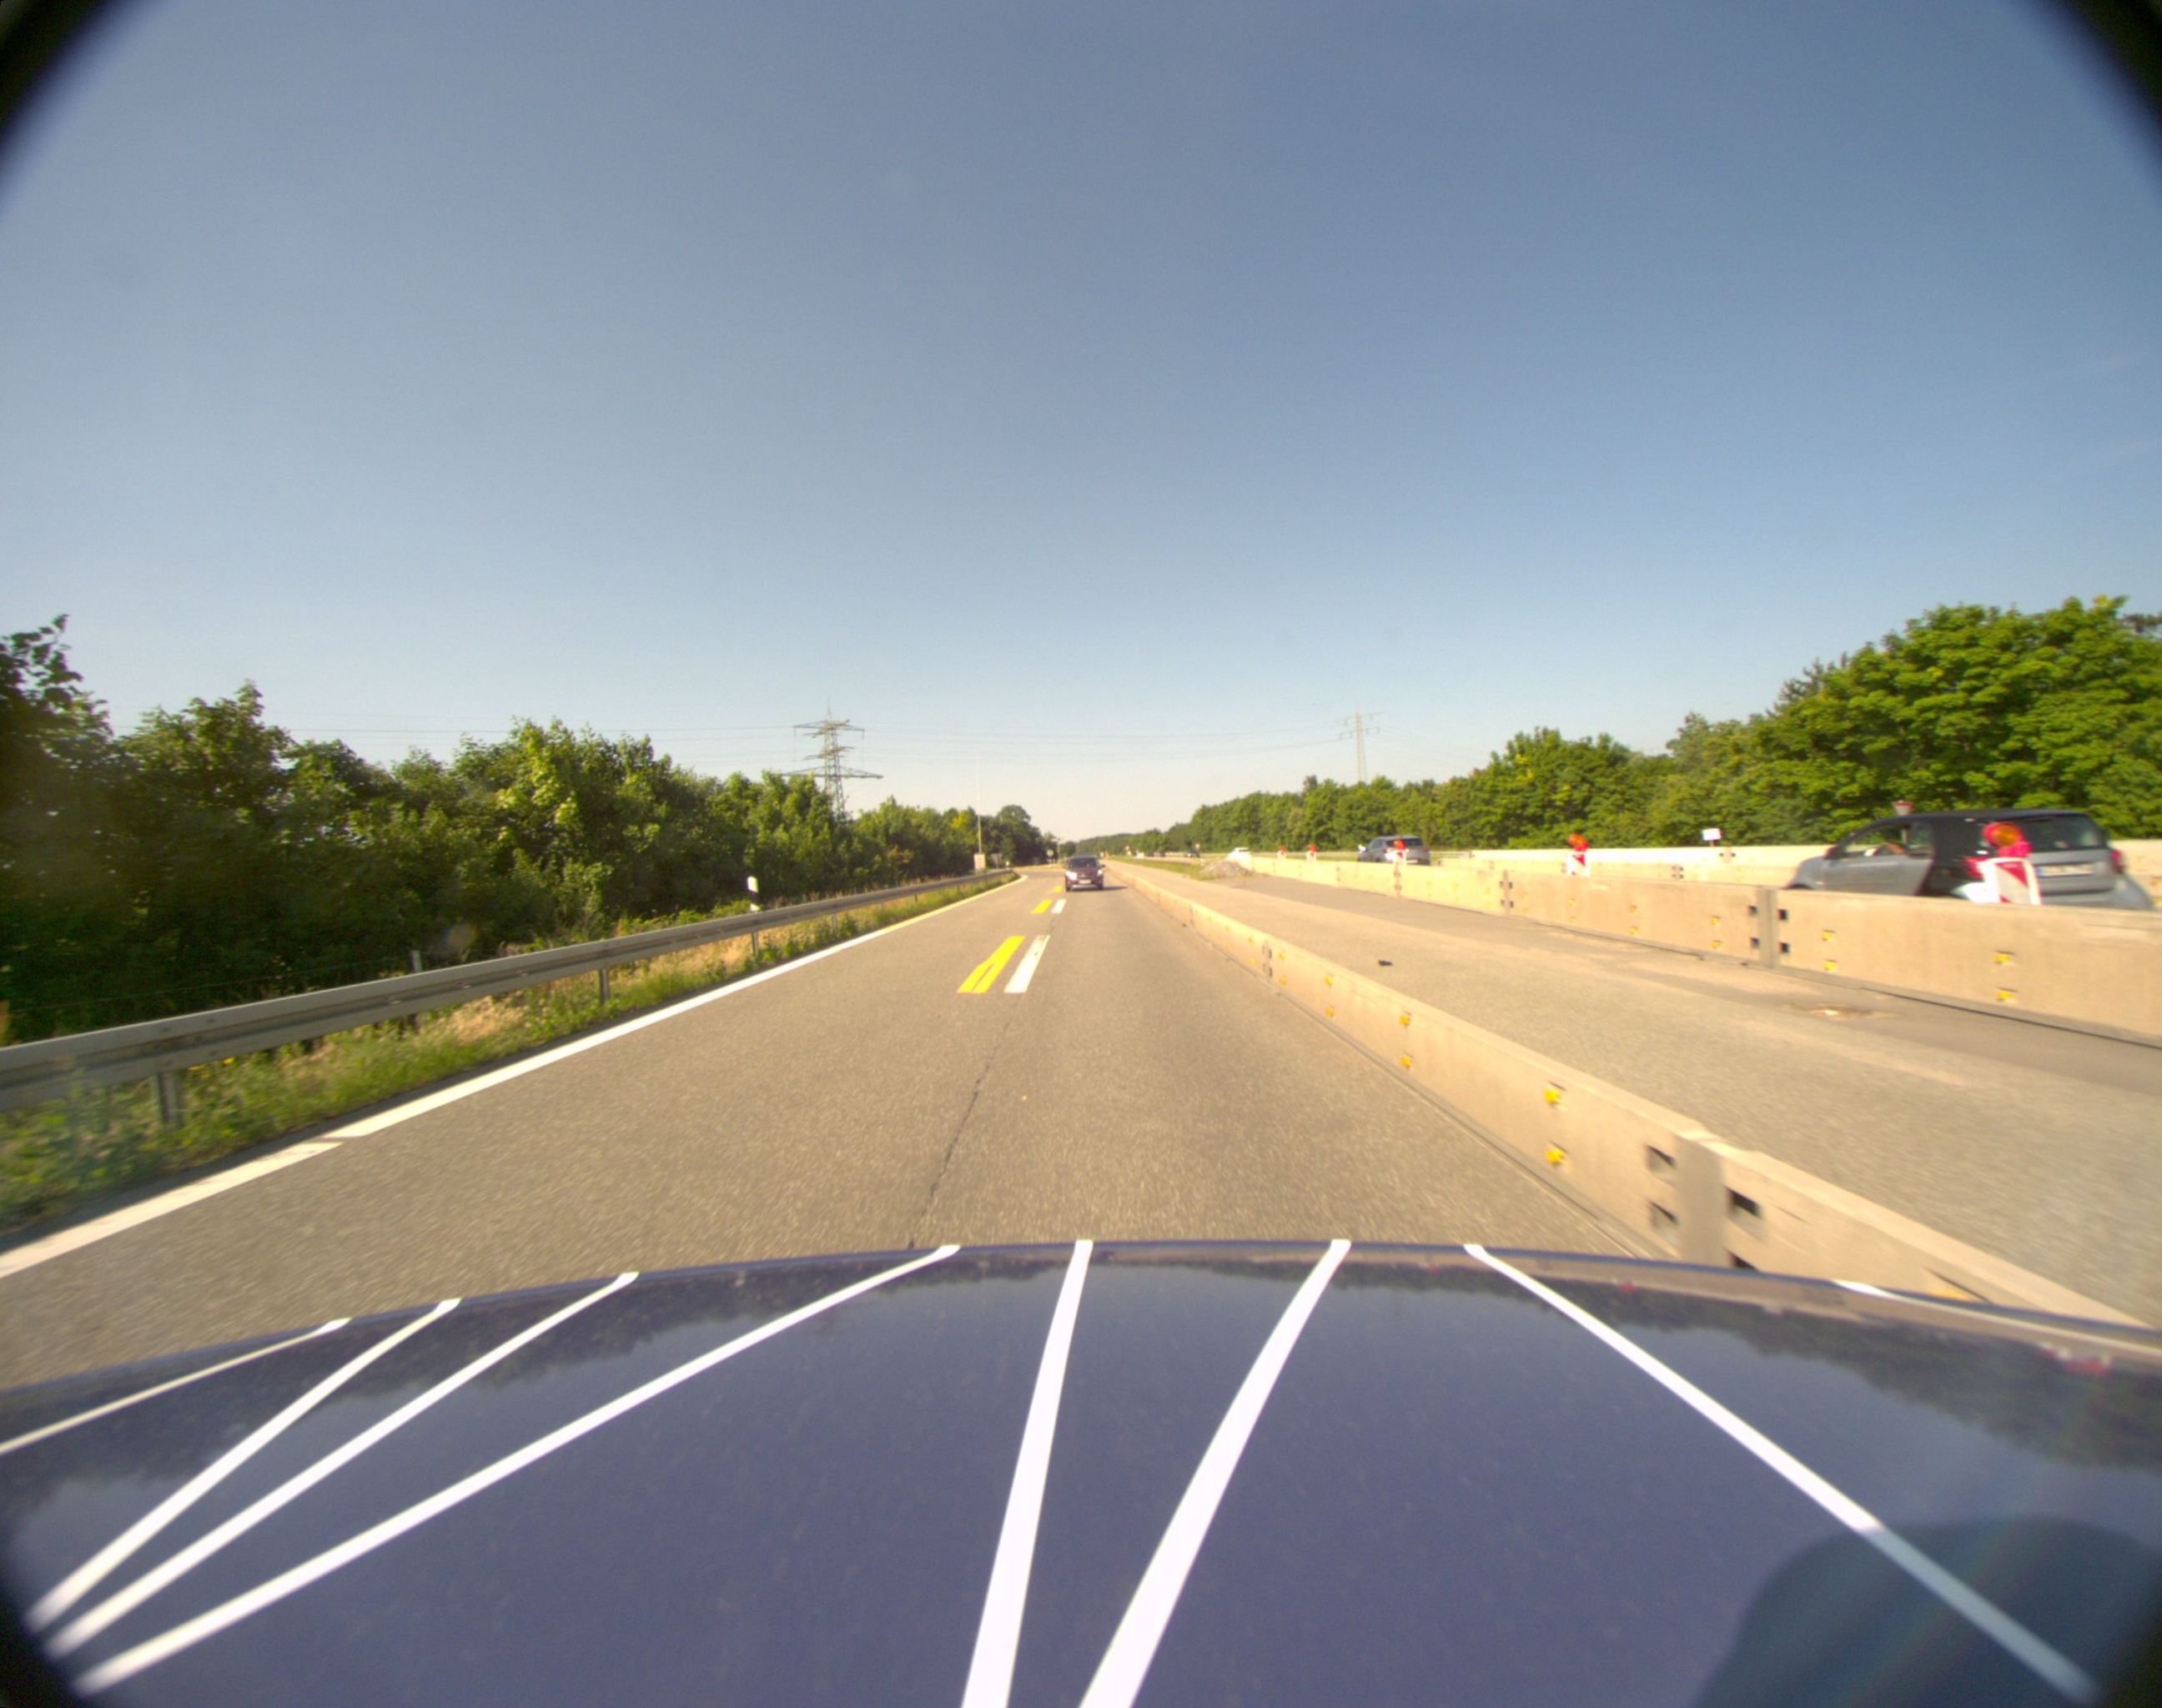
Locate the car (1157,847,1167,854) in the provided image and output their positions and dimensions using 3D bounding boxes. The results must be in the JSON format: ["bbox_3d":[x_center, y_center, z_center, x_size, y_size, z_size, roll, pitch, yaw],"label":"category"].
[{"bbox_3d":[17.586,-0.826,165.212,1.801,1.426,4.592,-3,0,1],"label":"car"}]

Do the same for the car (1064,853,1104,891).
[{"bbox_3d":[0.196,0.756,33.586,1.587,1.491,4.416,-2,0,2],"label":"car"}]

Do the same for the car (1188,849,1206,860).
[{"bbox_3d":[16.052,0.073,105.448,1.844,1.432,4.813,-1,0,2],"label":"car"}]

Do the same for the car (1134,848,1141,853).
[{"bbox_3d":[17.703,-1.196,237.022,1.743,1.485,4.109,-3,0,0],"label":"car"}]

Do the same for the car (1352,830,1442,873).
[{"bbox_3d":[12.382,-0.110,30.104,1.998,1.507,4.582,-2,0,6],"label":"car"}]

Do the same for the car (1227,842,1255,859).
[{"bbox_3d":[15.966,-0.372,76.129,1.822,1.598,4.439,-2,0,1],"label":"car"}]

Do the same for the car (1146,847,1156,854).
[{"bbox_3d":[16.778,-0.833,181.884,1.820,1.479,5.023,-4,0,2],"label":"car"}]

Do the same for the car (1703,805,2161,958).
[{"bbox_3d":[10.500,0.269,9.847,1.715,1.507,4.180,-2,0,6],"label":"car"}]

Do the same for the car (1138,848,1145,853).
[{"bbox_3d":[17.343,-0.999,218.215,1.764,1.462,4.794,-3,0,0],"label":"car"}]
